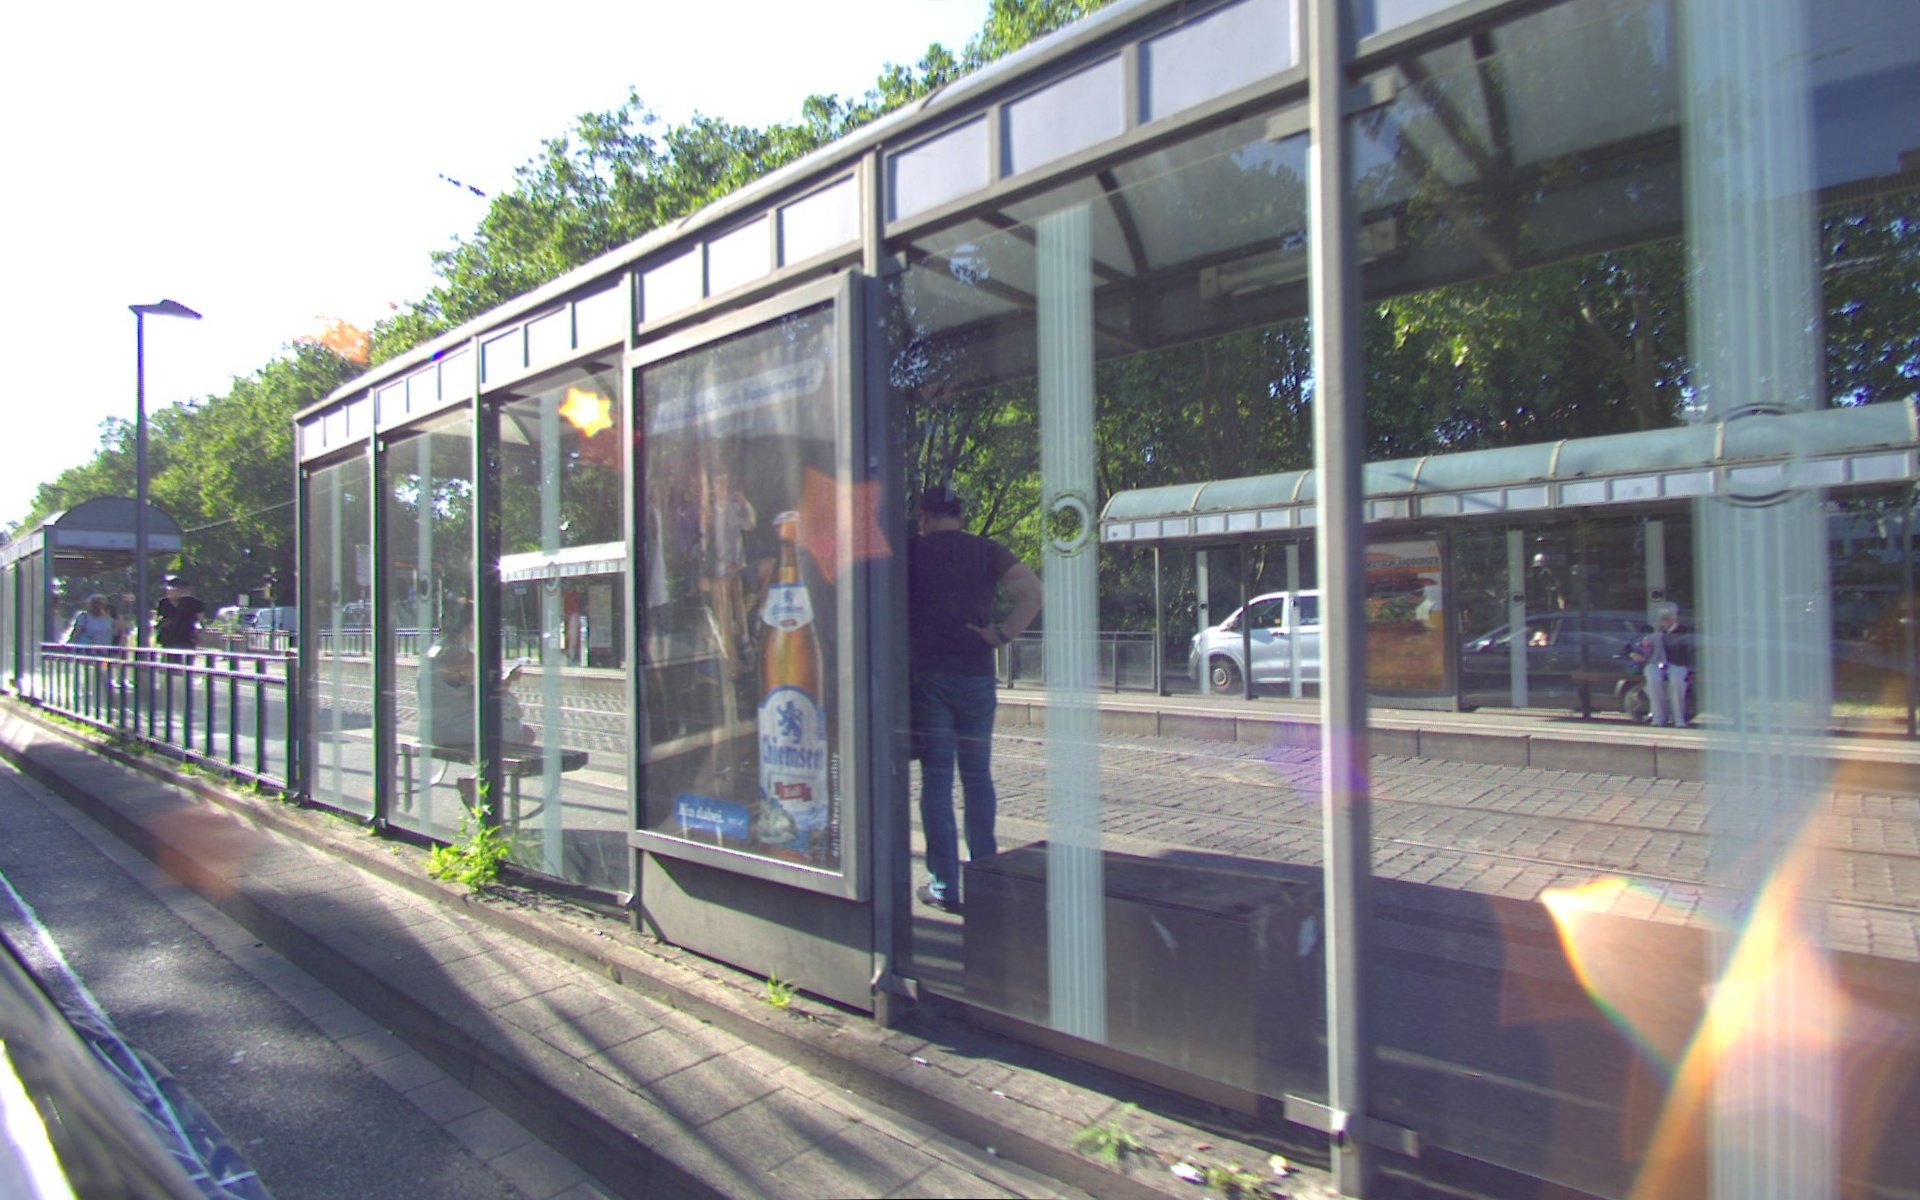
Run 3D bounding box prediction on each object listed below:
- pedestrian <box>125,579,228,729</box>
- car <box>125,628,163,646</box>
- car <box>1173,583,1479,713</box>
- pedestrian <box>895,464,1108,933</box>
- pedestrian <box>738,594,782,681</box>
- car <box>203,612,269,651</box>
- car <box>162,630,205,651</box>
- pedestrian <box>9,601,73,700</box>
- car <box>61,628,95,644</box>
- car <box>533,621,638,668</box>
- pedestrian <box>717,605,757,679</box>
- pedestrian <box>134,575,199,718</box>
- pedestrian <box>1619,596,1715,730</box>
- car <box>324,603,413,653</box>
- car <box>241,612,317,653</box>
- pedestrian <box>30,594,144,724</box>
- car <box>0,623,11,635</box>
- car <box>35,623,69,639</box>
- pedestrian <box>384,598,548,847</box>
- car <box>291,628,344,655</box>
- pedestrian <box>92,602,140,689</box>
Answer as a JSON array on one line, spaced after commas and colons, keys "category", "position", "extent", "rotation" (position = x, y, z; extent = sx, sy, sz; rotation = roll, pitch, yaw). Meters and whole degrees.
[{"category": "pedestrian", "position": [-9.343, 0.630, 12.085], "extent": [0.701, 1.735, 0.652], "rotation": [-1, 0, 6]}, {"category": "car", "position": [-69.256, 3.155, 85.868], "extent": [3.848, 1.448, 1.721], "rotation": [-1, -3, 39]}, {"category": "car", "position": [6.827, 0.861, 19.208], "extent": [5.085, 2.140, 2.046], "rotation": [-1, -3, 40]}, {"category": "pedestrian", "position": [0.164, 0.355, 4.062], "extent": [0.588, 1.690, 0.590], "rotation": [0, -1, -44]}, {"category": "pedestrian", "position": [-4.205, 0.776, 21.316], "extent": [0.650, 1.785, 0.641], "rotation": [-1, 0, 44]}, {"category": "car", "position": [-49.646, 2.122, 69.335], "extent": [6.044, 2.540, 2.161], "rotation": [-1, -3, 40]}, {"category": "car", "position": [-59.692, 3.094, 77.796], "extent": [3.878, 1.567, 1.721], "rotation": [-1, -3, 39]}, {"category": "pedestrian", "position": [-16.425, 0.883, 18.088], "extent": [0.791, 1.707, 0.734], "rotation": [-1, 0, 42]}, {"category": "car", "position": [-88.239, 3.615, 101.262], "extent": [4.390, 1.517, 1.809], "rotation": [-1, -3, 40]}, {"category": "car", "position": [-14.065, 1.632, 37.989], "extent": [3.968, 1.664, 1.884], "rotation": [-1, -3, 38]}, {"category": "pedestrian", "position": [-4.811, 0.898, 21.832], "extent": [0.626, 1.555, 0.586], "rotation": [-1, 0, 42]}, {"category": "pedestrian", "position": [-10.725, 0.607, 13.682], "extent": [0.643, 1.855, 0.712], "rotation": [-1, 0, -39]}, {"category": "pedestrian", "position": [7.399, 0.650, 10.594], "extent": [0.756, 1.335, 0.663], "rotation": [-1, -4, 39]}, {"category": "car", "position": [-31.922, 1.497, 54.564], "extent": [6.027, 2.540, 2.161], "rotation": [-1, -3, 40]}, {"category": "car", "position": [-43.357, 2.054, 64.363], "extent": [6.263, 2.540, 2.162], "rotation": [-1, -3, 38]}, {"category": "pedestrian", "position": [-11.606, 0.761, 13.493], "extent": [0.789, 1.646, 0.869], "rotation": [-2, 0, -11]}, {"category": "car", "position": [-135.329, 4.088, 142.658], "extent": [3.896, 1.753, 1.713], "rotation": [-1, -3, 39]}, {"category": "car", "position": [-102.048, 3.436, 113.731], "extent": [4.385, 1.732, 1.811], "rotation": [-1, -3, 35]}, {"category": "pedestrian", "position": [-2.843, 0.655, 5.833], "extent": [0.593, 1.318, 0.671], "rotation": [-1, -1, 42]}, {"category": "car", "position": [-38.178, 2.475, 60.089], "extent": [3.262, 1.524, 1.636], "rotation": [-1, -3, 38]}, {"category": "pedestrian", "position": [-15.759, 0.835, 18.889], "extent": [0.650, 1.579, 0.582], "rotation": [-1, 0, 42]}]
